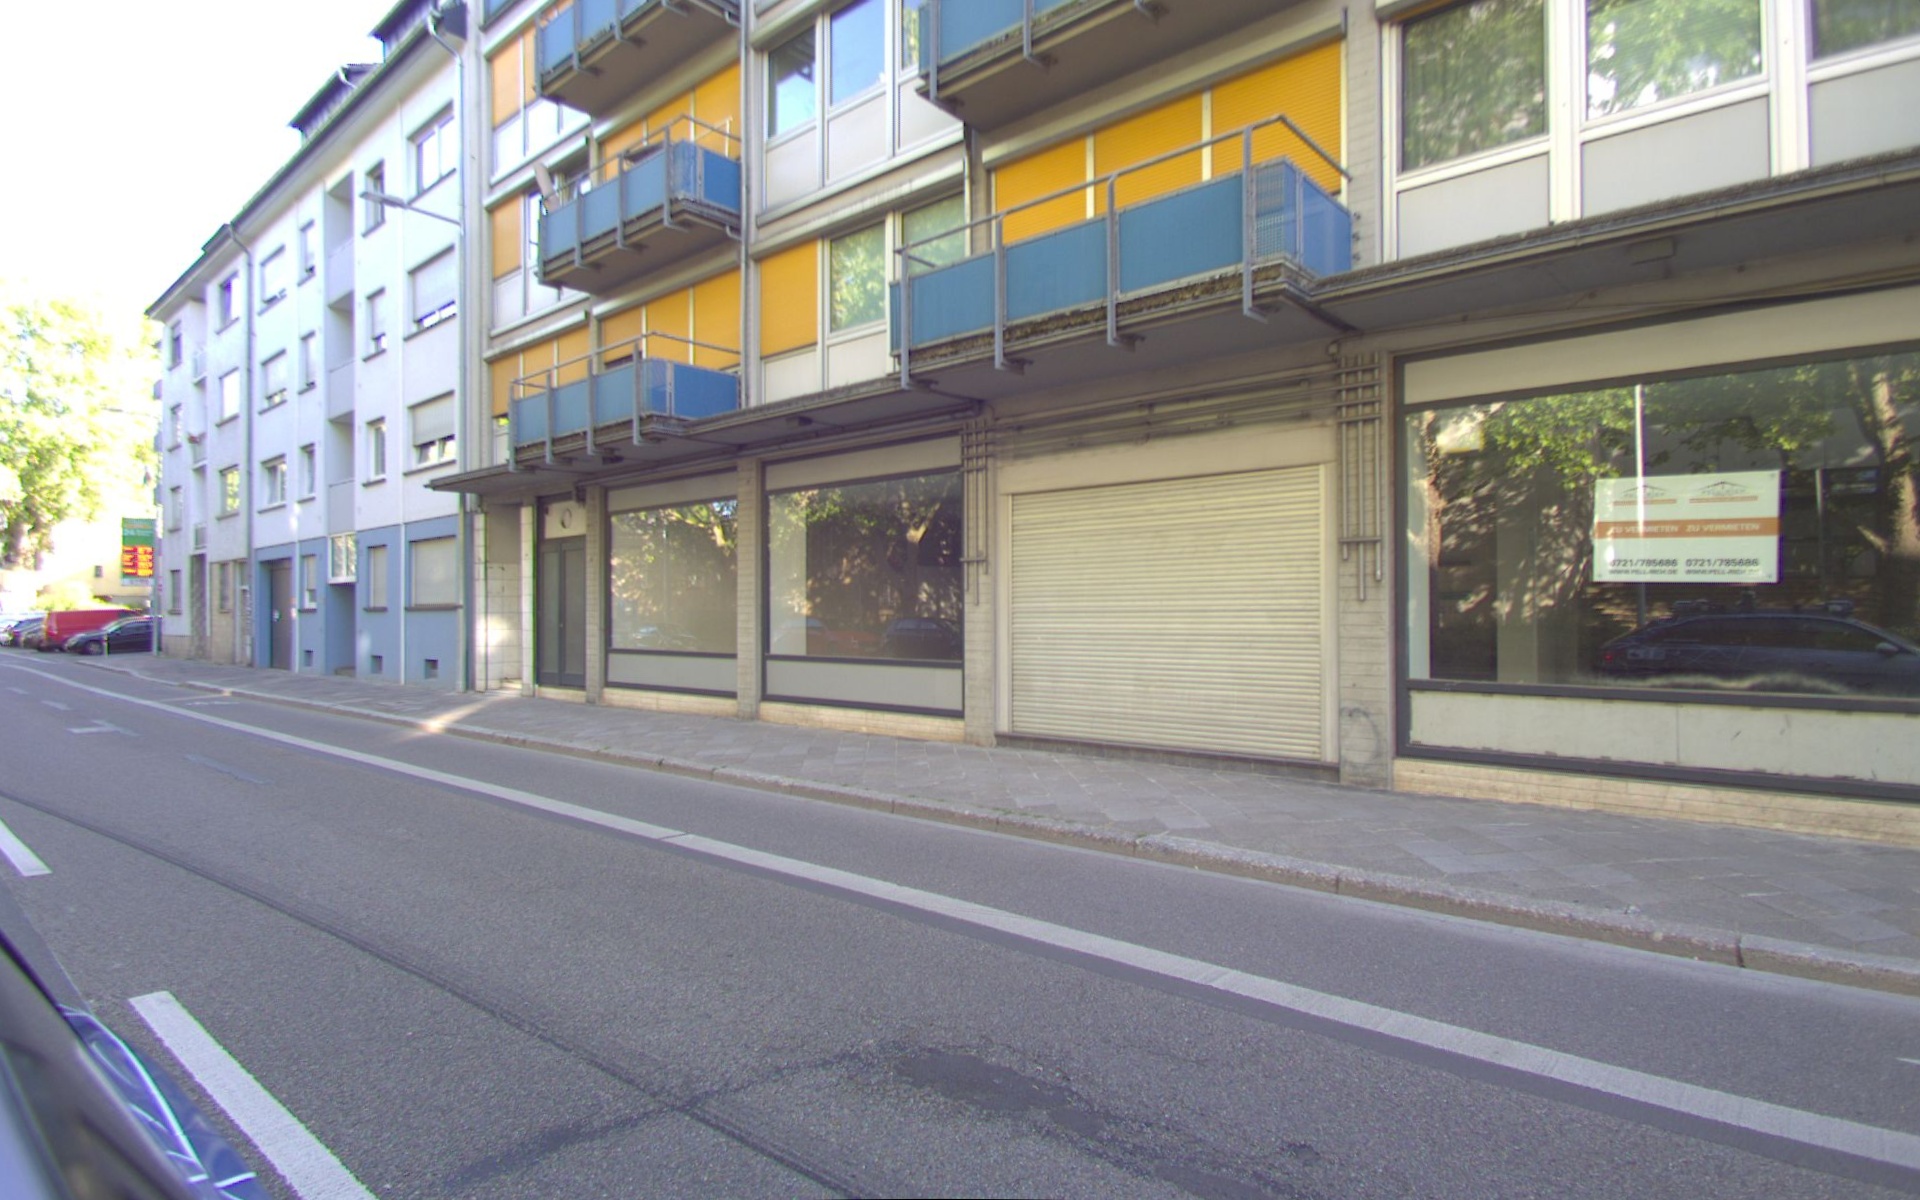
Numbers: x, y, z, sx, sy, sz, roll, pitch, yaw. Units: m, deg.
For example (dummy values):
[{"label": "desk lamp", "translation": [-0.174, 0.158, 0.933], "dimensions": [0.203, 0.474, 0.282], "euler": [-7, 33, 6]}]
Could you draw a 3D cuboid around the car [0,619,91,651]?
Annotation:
[{"label": "car", "translation": [-50.824, 1.905, 55.971], "dimensions": [1.699, 1.640, 3.952], "euler": [-1, 0, 35]}]

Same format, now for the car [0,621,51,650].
[{"label": "car", "translation": [-56.888, 2.118, 60.396], "dimensions": [1.740, 1.600, 3.685], "euler": [-1, 0, 35]}]

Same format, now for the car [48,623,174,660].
[{"label": "car", "translation": [-36.773, 1.748, 43.901], "dimensions": [1.780, 1.404, 3.947], "euler": [-1, 0, 39]}]

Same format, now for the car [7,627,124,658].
[{"label": "car", "translation": [-43.090, 2.021, 48.789], "dimensions": [1.904, 1.282, 3.983], "euler": [-1, 0, 39]}]

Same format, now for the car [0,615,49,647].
[{"label": "car", "translation": [-59.715, 1.963, 63.795], "dimensions": [1.693, 1.953, 3.224], "euler": [-1, 0, 43]}]

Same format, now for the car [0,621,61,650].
[{"label": "car", "translation": [-55.068, 2.078, 59.003], "dimensions": [1.715, 1.594, 3.660], "euler": [-1, 0, 35]}]

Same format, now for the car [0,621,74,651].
[{"label": "car", "translation": [-52.884, 2.033, 57.474], "dimensions": [1.656, 1.599, 3.615], "euler": [-1, 0, 35]}]

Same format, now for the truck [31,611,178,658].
[{"label": "truck", "translation": [-40.351, 1.579, 47.838], "dimensions": [1.998, 2.036, 5.024], "euler": [-1, 0, 40]}]
